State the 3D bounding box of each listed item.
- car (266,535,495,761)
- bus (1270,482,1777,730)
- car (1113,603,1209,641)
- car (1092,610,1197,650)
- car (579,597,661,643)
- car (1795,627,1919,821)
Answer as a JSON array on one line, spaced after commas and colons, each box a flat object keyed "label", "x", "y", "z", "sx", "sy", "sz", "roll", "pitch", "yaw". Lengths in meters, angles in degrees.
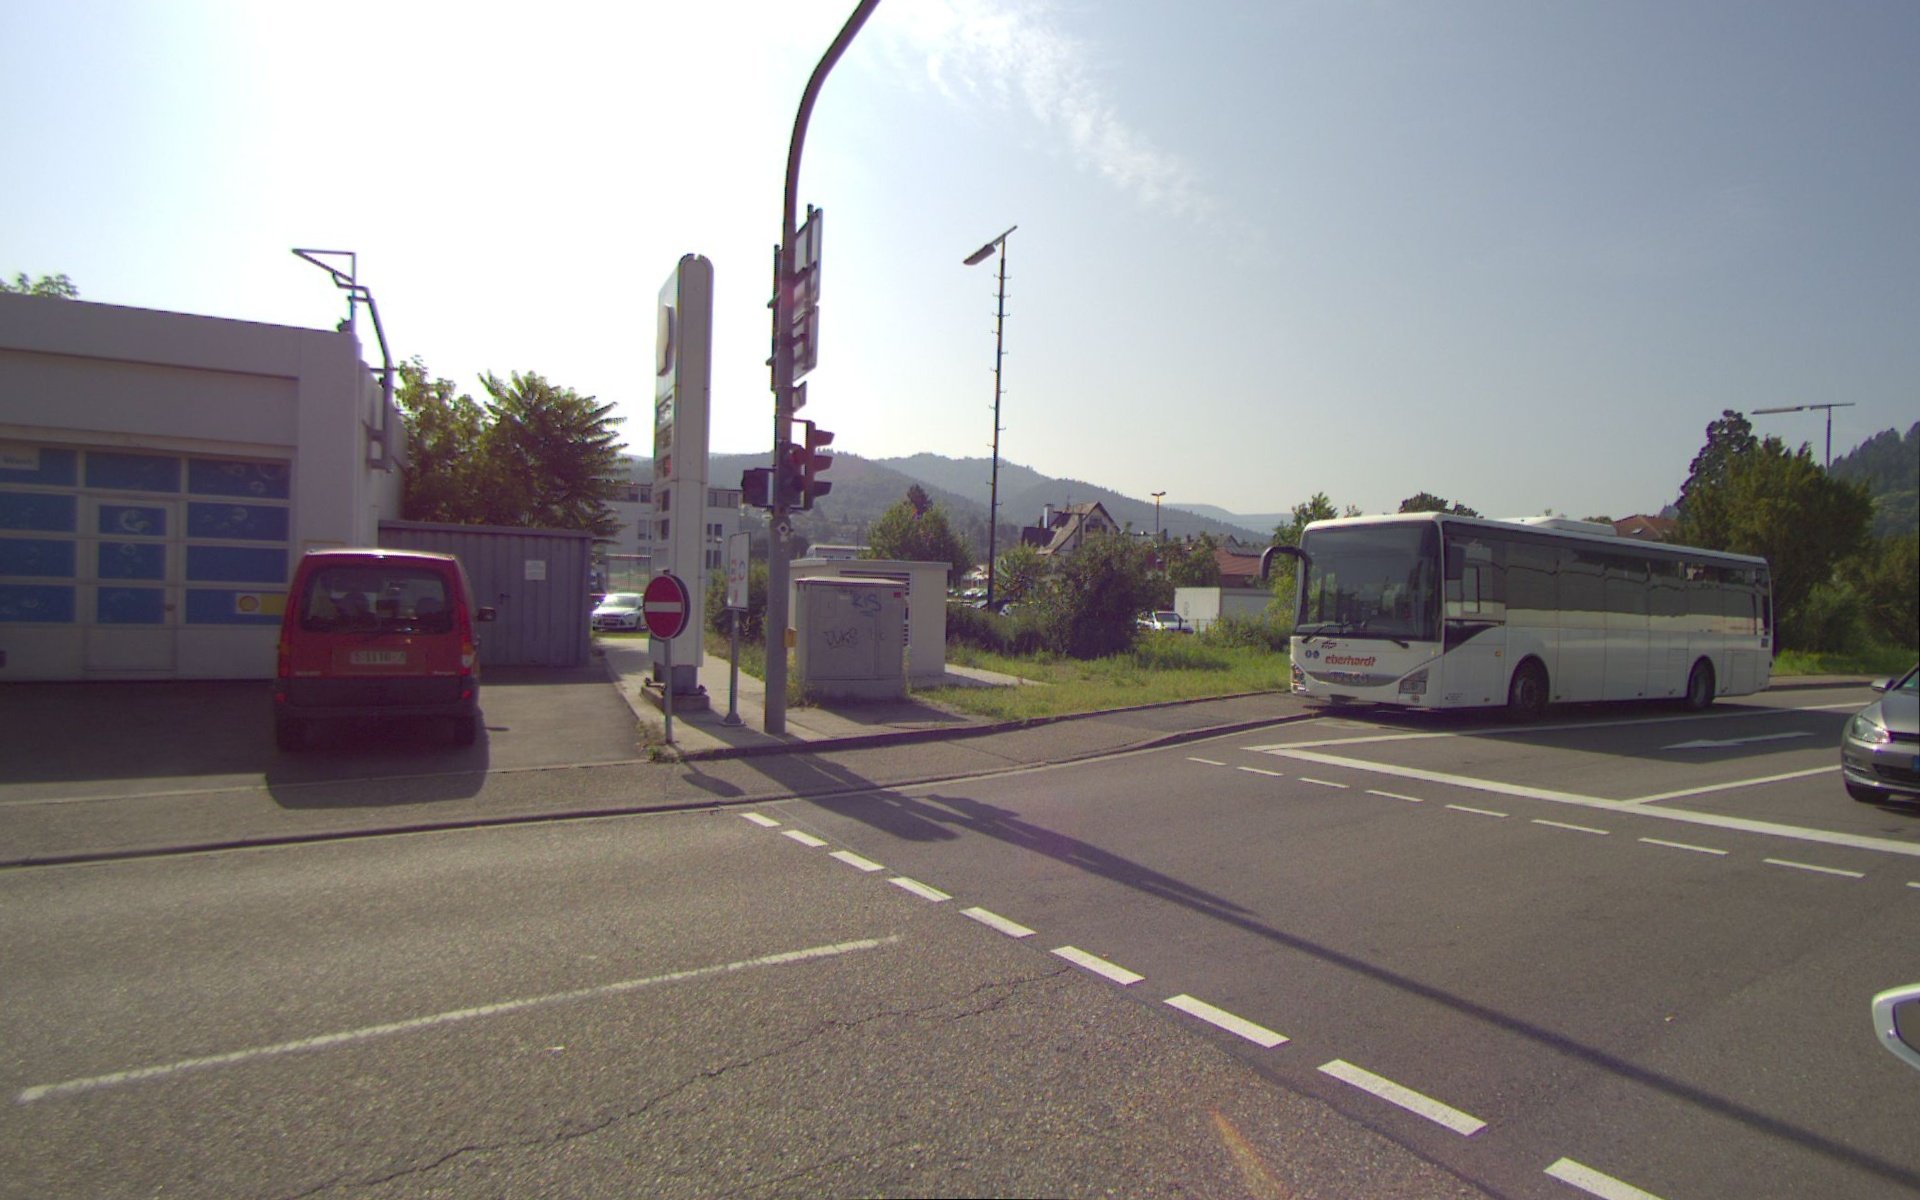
[{"label": "car", "x": -5.761, "y": 0.314, "z": 10.321, "sx": 1.680, "sy": 1.820, "sz": 3.762, "roll": 2, "pitch": 3, "yaw": -26}, {"label": "bus", "x": 10.553, "y": 0.263, "z": 17.860, "sx": 11.828, "sy": 3.354, "sz": 2.606, "roll": 2, "pitch": -1, "yaw": -33}, {"label": "car", "x": 8.970, "y": 0.961, "z": 45.077, "sx": 1.980, "sy": 1.571, "sz": 3.960, "roll": 2, "pitch": -1, "yaw": -35}, {"label": "car", "x": 6.169, "y": 1.003, "z": 33.521, "sx": 3.435, "sy": 1.255, "sz": 1.303, "roll": 2, "pitch": -1, "yaw": -30}, {"label": "car", "x": -7.604, "y": 0.417, "z": 22.346, "sx": 1.219, "sy": 0.949, "sz": 3.046, "roll": 1, "pitch": 0, "yaw": -29}, {"label": "car", "x": 9.400, "y": 1.050, "z": 8.785, "sx": 4.166, "sy": 1.492, "sz": 1.765, "roll": 2, "pitch": -1, "yaw": -28}]
